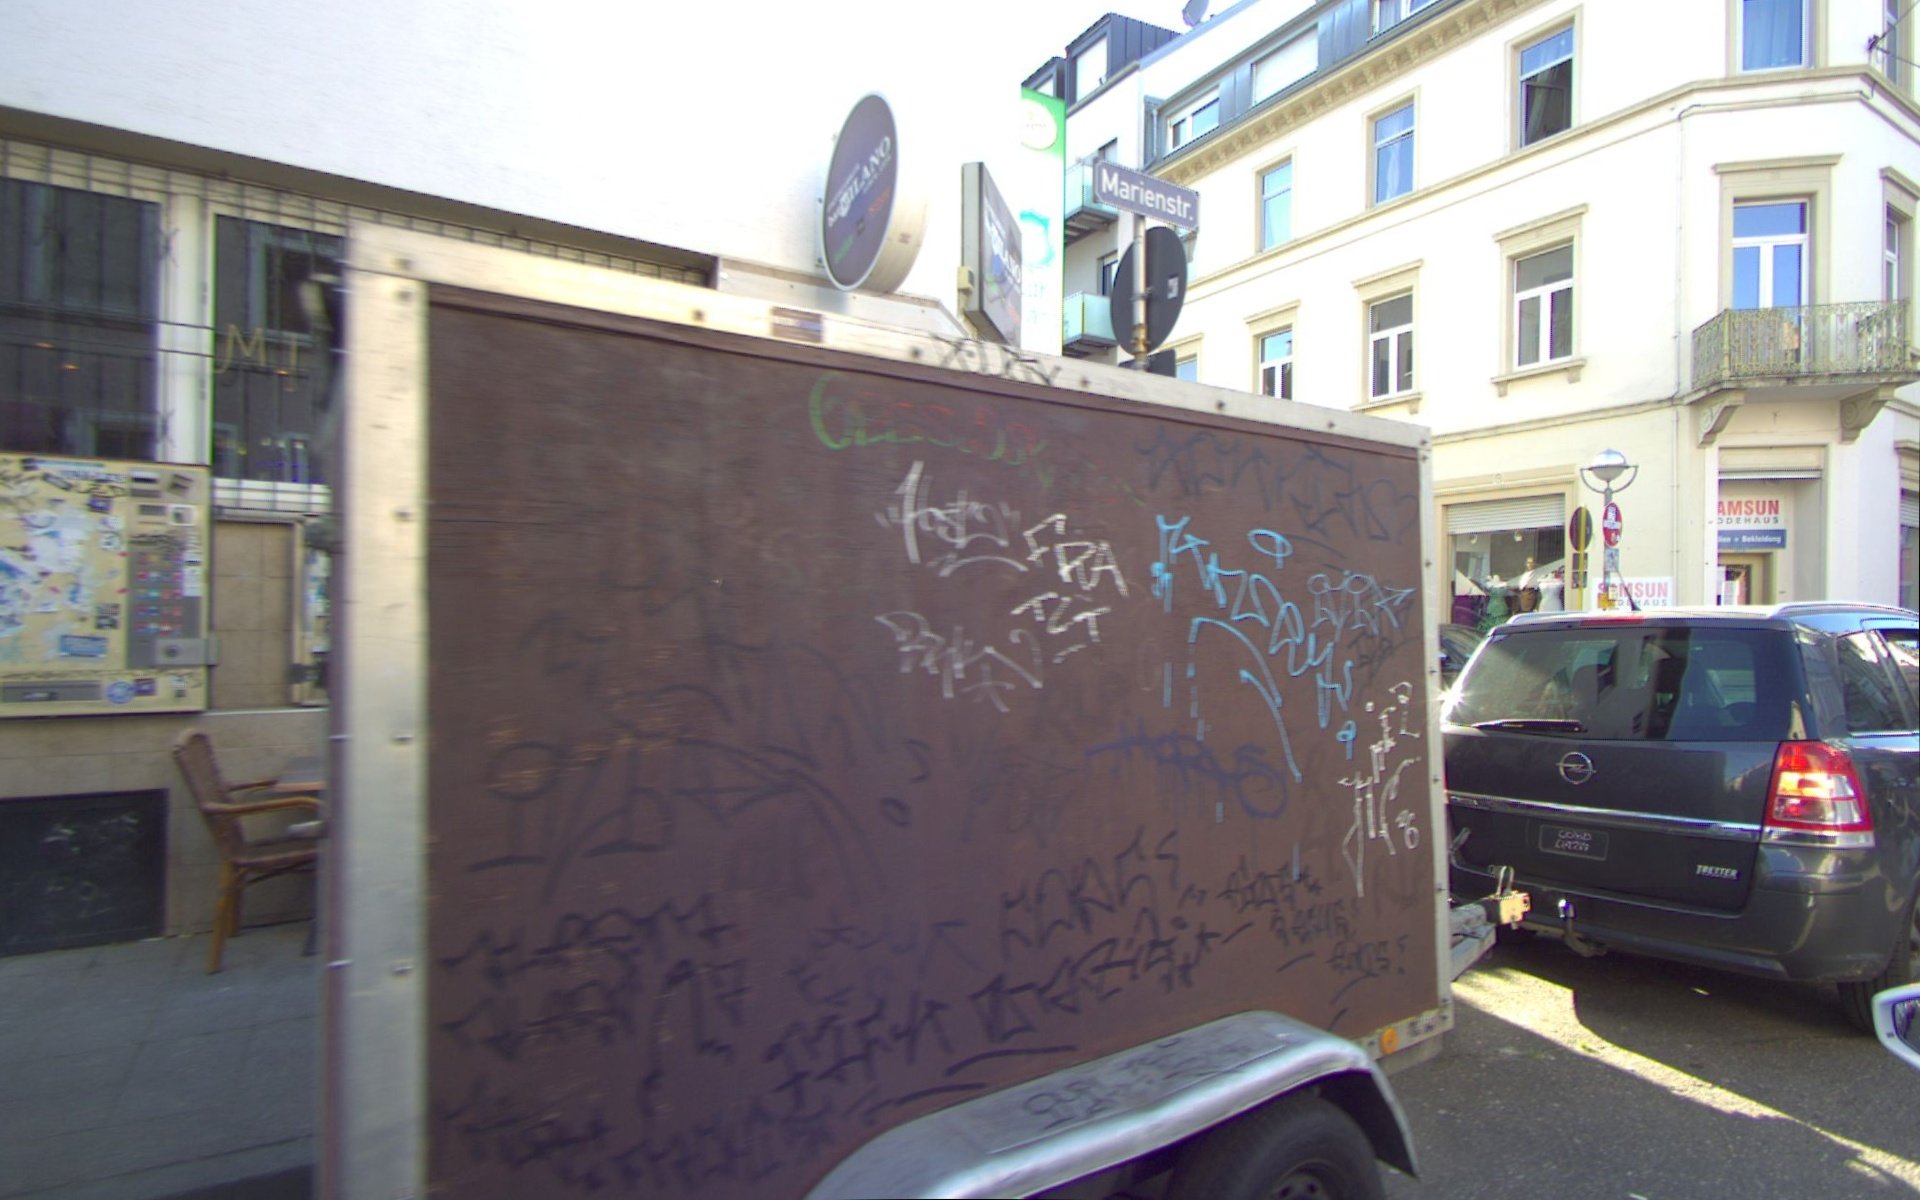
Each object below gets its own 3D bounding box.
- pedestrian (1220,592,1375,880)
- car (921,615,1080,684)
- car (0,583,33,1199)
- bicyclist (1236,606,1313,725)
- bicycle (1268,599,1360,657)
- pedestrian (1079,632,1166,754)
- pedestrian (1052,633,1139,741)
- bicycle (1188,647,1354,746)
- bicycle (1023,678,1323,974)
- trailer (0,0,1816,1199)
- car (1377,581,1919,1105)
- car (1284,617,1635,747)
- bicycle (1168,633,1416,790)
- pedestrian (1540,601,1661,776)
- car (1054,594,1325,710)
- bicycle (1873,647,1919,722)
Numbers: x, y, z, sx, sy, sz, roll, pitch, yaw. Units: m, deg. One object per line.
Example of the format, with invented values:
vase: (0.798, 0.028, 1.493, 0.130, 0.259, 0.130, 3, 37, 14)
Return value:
pedestrian: (2.079, 0.802, 6.225, 0.572, 1.666, 0.627, 3, 0, -24)
car: (0.865, 1.094, 23.631, 1.741, 1.429, 3.928, 1, 0, -34)
car: (-3.284, 0.676, 0.538, 3.775, 1.575, 1.668, 2, -3, -32)
bicyclist: (4.017, 0.813, 12.825, 0.776, 1.455, 0.708, 0, -1, 33)
bicycle: (7.274, 0.557, 20.749, 0.604, 1.137, 1.916, 2, 0, -24)
pedestrian: (1.808, 1.020, 11.233, 0.652, 1.283, 0.683, 2, 0, -27)
pedestrian: (1.705, 1.077, 12.699, 0.697, 1.283, 0.845, 2, 0, -27)
bicycle: (3.962, 1.192, 12.859, 1.902, 1.126, 0.708, 0, -1, 33)
bicycle: (1.054, 0.989, 4.827, 1.448, 1.154, 0.572, 2, 0, -37)
trailer: (0.507, 0.519, 2.724, 4.319, 2.088, 1.652, 2, -3, -34)
car: (4.094, 0.811, 4.993, 4.121, 1.626, 1.712, 1, -2, -33)
car: (6.786, 1.008, 14.089, 1.740, 1.475, 4.116, 1, 0, -32)
bicycle: (3.346, 1.057, 10.424, 0.917, 1.377, 2.464, 1, -1, -30)
pedestrian: (6.811, 0.904, 10.693, 0.855, 1.725, 0.690, -1, 5, -31)
car: (4.076, 0.849, 18.749, 1.838, 1.875, 5.053, 1, 0, -34)
bicycle: (14.562, 1.262, 15.162, 1.797, 1.036, 0.600, 2, 2, -31)
